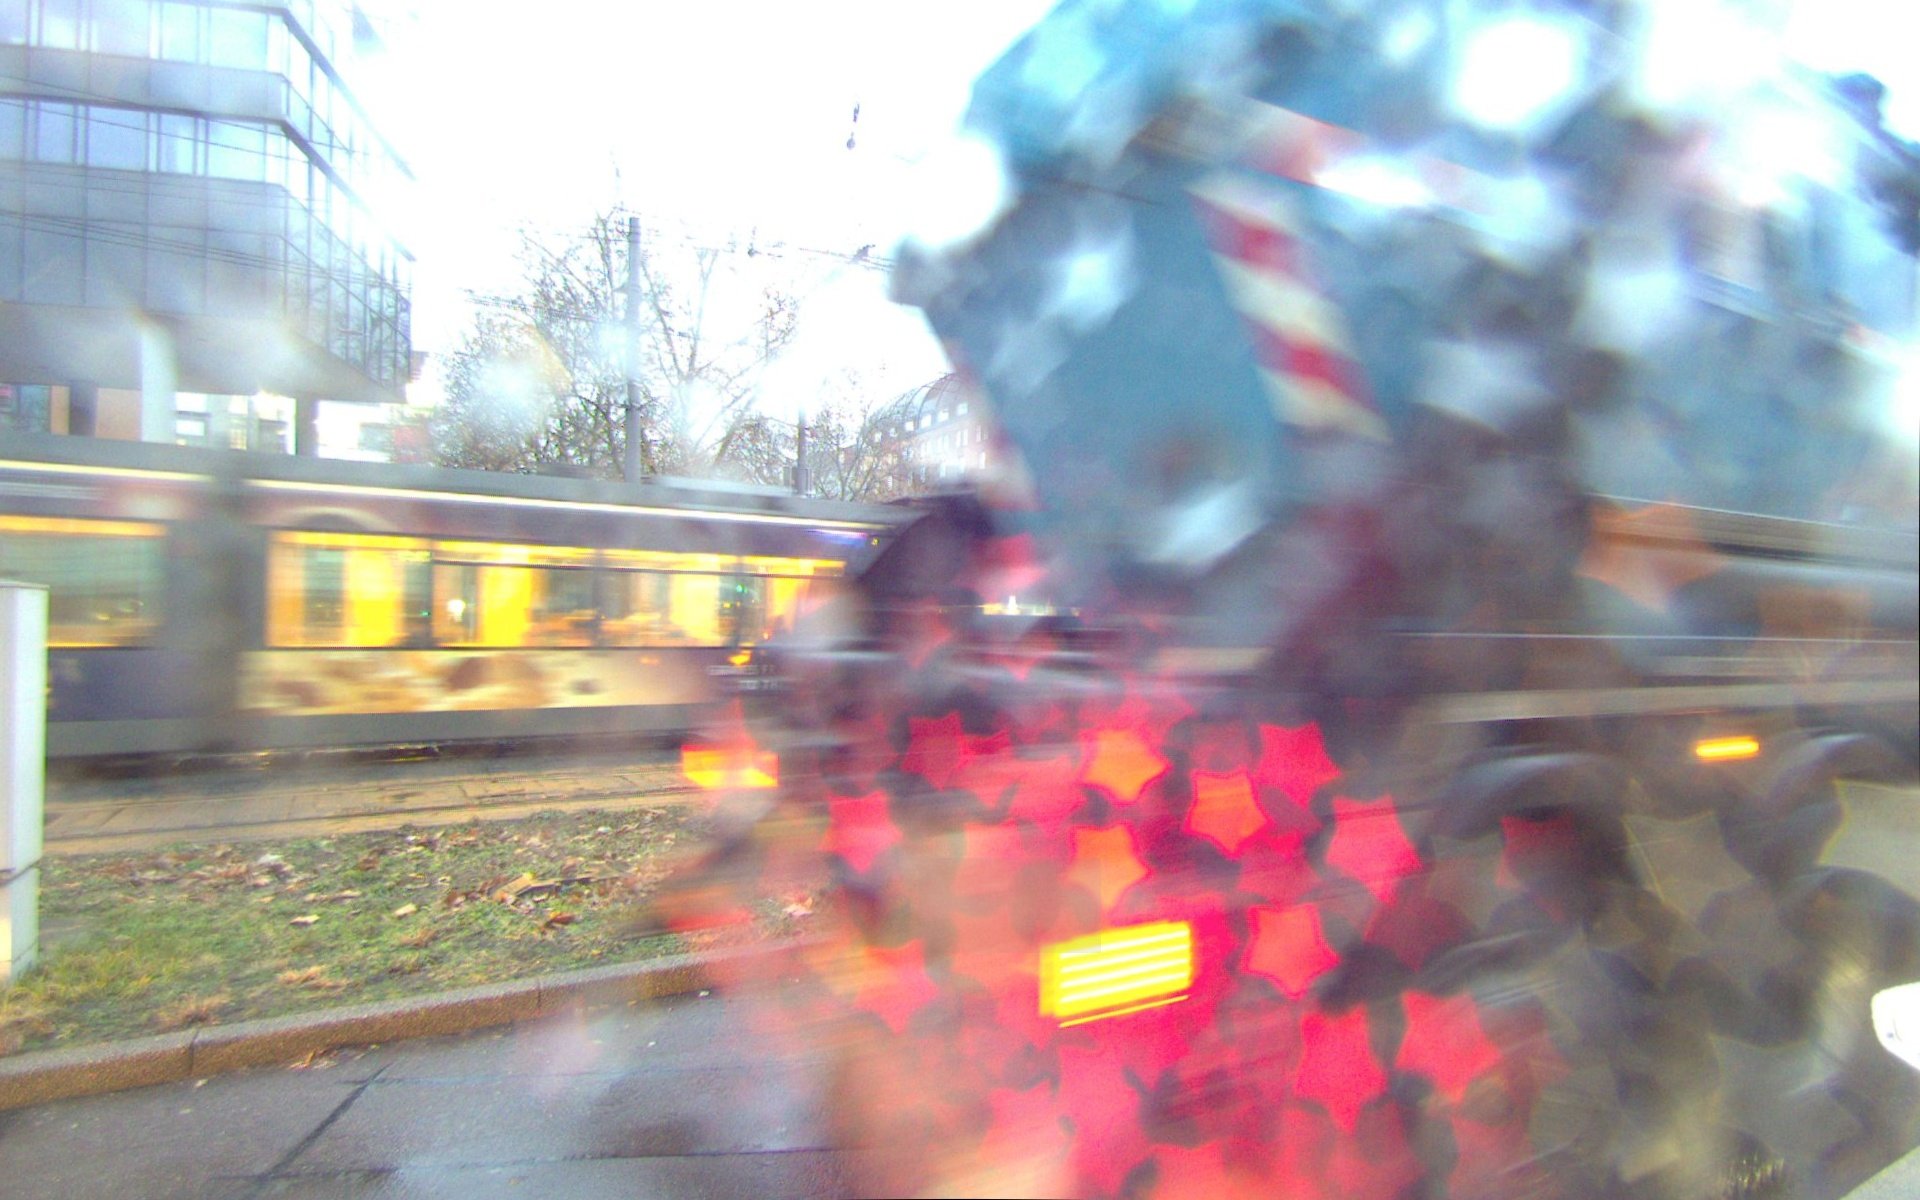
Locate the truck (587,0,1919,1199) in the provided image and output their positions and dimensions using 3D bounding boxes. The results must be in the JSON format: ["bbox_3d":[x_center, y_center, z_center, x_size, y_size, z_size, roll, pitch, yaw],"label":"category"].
[{"bbox_3d":[2.634,-0.150,4.175,7.441,3.681,2.825,1,-1,-31],"label":"truck"}]

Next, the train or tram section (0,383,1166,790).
[{"bbox_3d":[-5.361,0.023,12.789,19.000,3.662,2.849,2,-2,-32],"label":"train or tram section"}]
